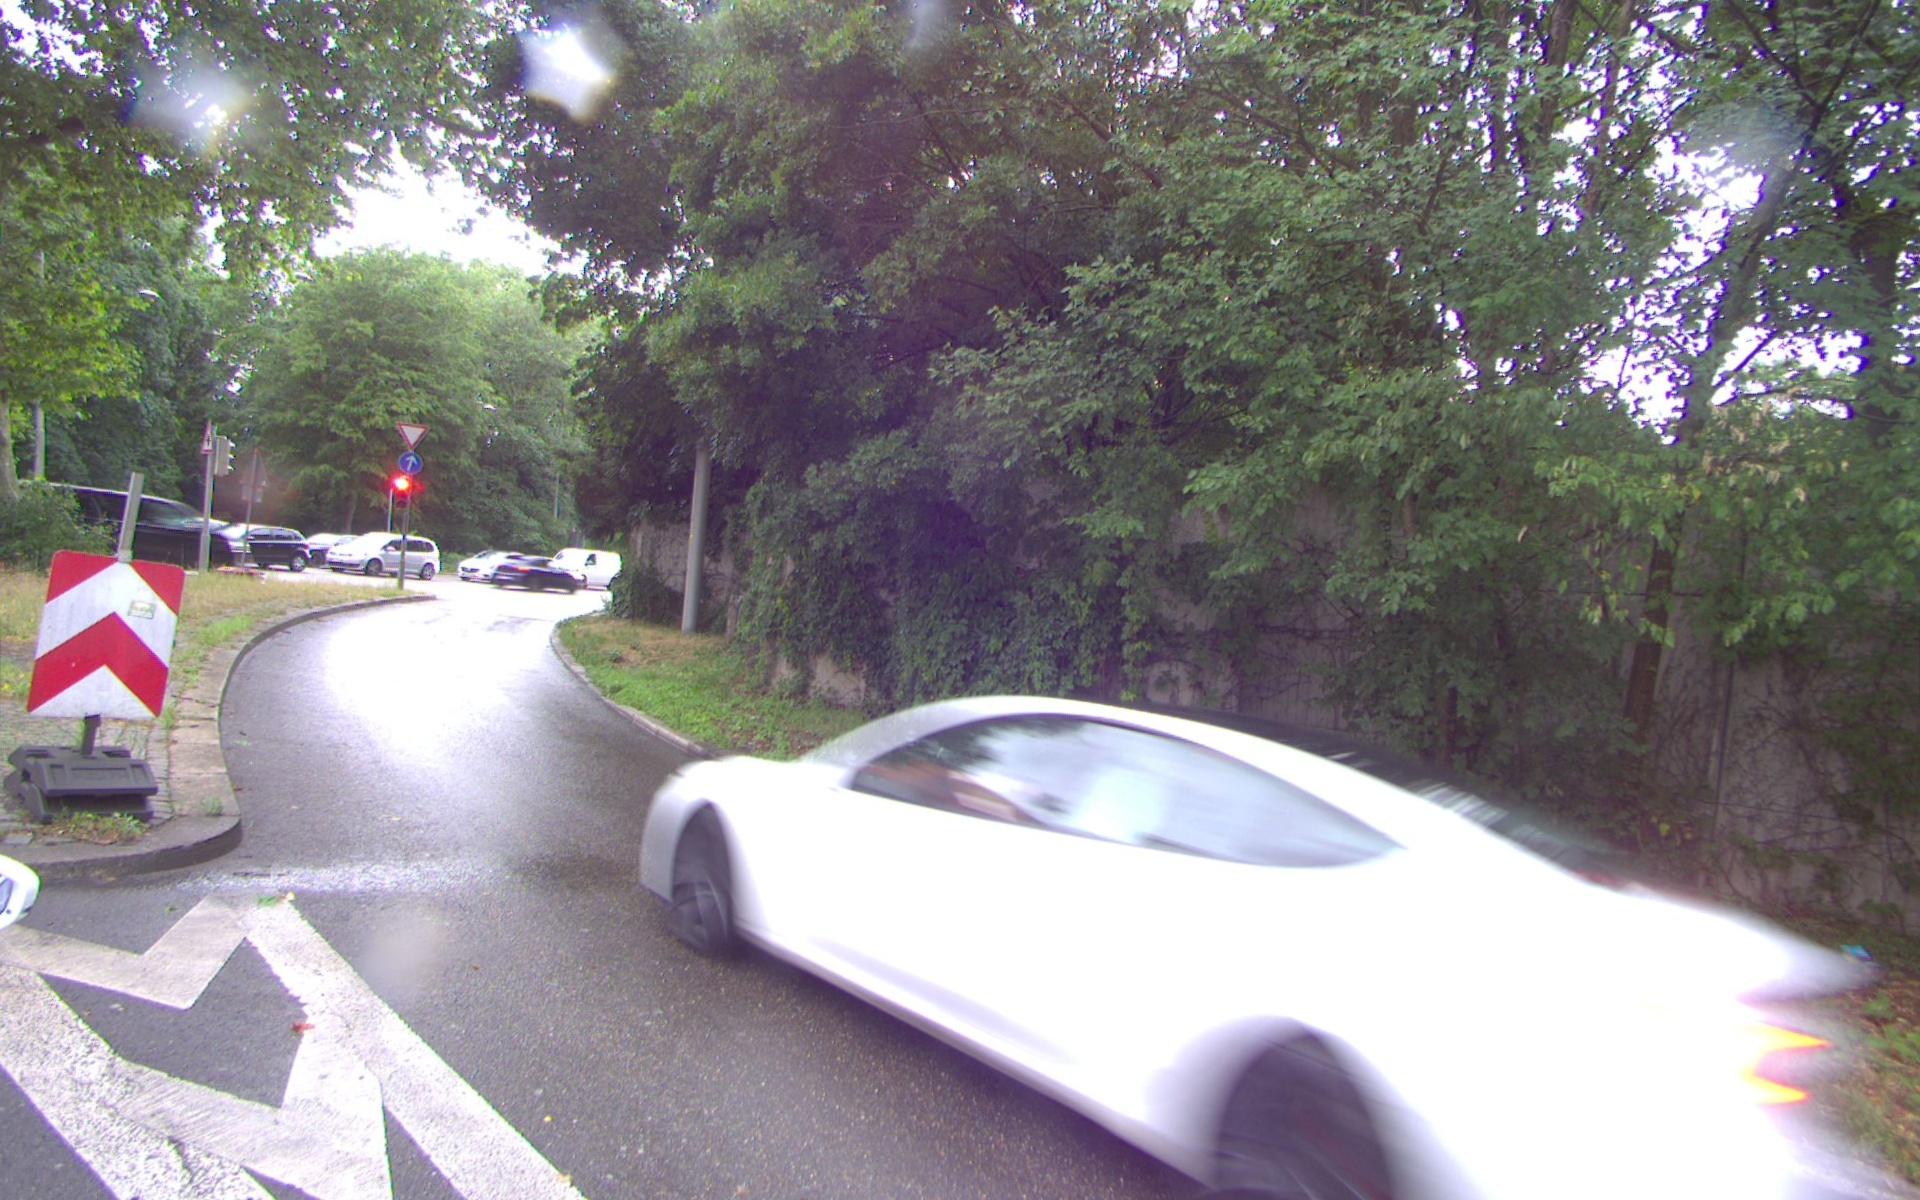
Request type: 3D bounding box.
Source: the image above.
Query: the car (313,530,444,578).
[{"bbox_3d":[-22.069,-1.725,38.394,1.740,1.506,4.271,6,2,16],"label":"car"}]

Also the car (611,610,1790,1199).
[{"bbox_3d":[0.527,1.031,4.104,4.217,1.448,1.833,5,-4,44],"label":"car"}]

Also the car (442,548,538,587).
[{"bbox_3d":[-20.909,-1.407,44.947,1.740,1.506,3.998,5,2,12],"label":"car"}]

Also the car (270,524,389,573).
[{"bbox_3d":[-24.912,-2.001,39.925,1.712,1.504,3.836,6,0,12],"label":"car"}]

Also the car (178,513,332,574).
[{"bbox_3d":[-23.076,-1.806,33.106,1.641,1.503,3.867,6,0,17],"label":"car"}]

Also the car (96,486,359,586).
[{"bbox_3d":[-18.735,-1.573,26.055,1.965,1.868,5.087,6,-1,27],"label":"car"}]

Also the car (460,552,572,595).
[{"bbox_3d":[-17.830,-1.019,40.573,1.556,1.465,4.143,6,2,22],"label":"car"}]

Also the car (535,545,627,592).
[{"bbox_3d":[-19.078,-1.552,50.879,1.872,1.946,4.862,6,0,12],"label":"car"}]
